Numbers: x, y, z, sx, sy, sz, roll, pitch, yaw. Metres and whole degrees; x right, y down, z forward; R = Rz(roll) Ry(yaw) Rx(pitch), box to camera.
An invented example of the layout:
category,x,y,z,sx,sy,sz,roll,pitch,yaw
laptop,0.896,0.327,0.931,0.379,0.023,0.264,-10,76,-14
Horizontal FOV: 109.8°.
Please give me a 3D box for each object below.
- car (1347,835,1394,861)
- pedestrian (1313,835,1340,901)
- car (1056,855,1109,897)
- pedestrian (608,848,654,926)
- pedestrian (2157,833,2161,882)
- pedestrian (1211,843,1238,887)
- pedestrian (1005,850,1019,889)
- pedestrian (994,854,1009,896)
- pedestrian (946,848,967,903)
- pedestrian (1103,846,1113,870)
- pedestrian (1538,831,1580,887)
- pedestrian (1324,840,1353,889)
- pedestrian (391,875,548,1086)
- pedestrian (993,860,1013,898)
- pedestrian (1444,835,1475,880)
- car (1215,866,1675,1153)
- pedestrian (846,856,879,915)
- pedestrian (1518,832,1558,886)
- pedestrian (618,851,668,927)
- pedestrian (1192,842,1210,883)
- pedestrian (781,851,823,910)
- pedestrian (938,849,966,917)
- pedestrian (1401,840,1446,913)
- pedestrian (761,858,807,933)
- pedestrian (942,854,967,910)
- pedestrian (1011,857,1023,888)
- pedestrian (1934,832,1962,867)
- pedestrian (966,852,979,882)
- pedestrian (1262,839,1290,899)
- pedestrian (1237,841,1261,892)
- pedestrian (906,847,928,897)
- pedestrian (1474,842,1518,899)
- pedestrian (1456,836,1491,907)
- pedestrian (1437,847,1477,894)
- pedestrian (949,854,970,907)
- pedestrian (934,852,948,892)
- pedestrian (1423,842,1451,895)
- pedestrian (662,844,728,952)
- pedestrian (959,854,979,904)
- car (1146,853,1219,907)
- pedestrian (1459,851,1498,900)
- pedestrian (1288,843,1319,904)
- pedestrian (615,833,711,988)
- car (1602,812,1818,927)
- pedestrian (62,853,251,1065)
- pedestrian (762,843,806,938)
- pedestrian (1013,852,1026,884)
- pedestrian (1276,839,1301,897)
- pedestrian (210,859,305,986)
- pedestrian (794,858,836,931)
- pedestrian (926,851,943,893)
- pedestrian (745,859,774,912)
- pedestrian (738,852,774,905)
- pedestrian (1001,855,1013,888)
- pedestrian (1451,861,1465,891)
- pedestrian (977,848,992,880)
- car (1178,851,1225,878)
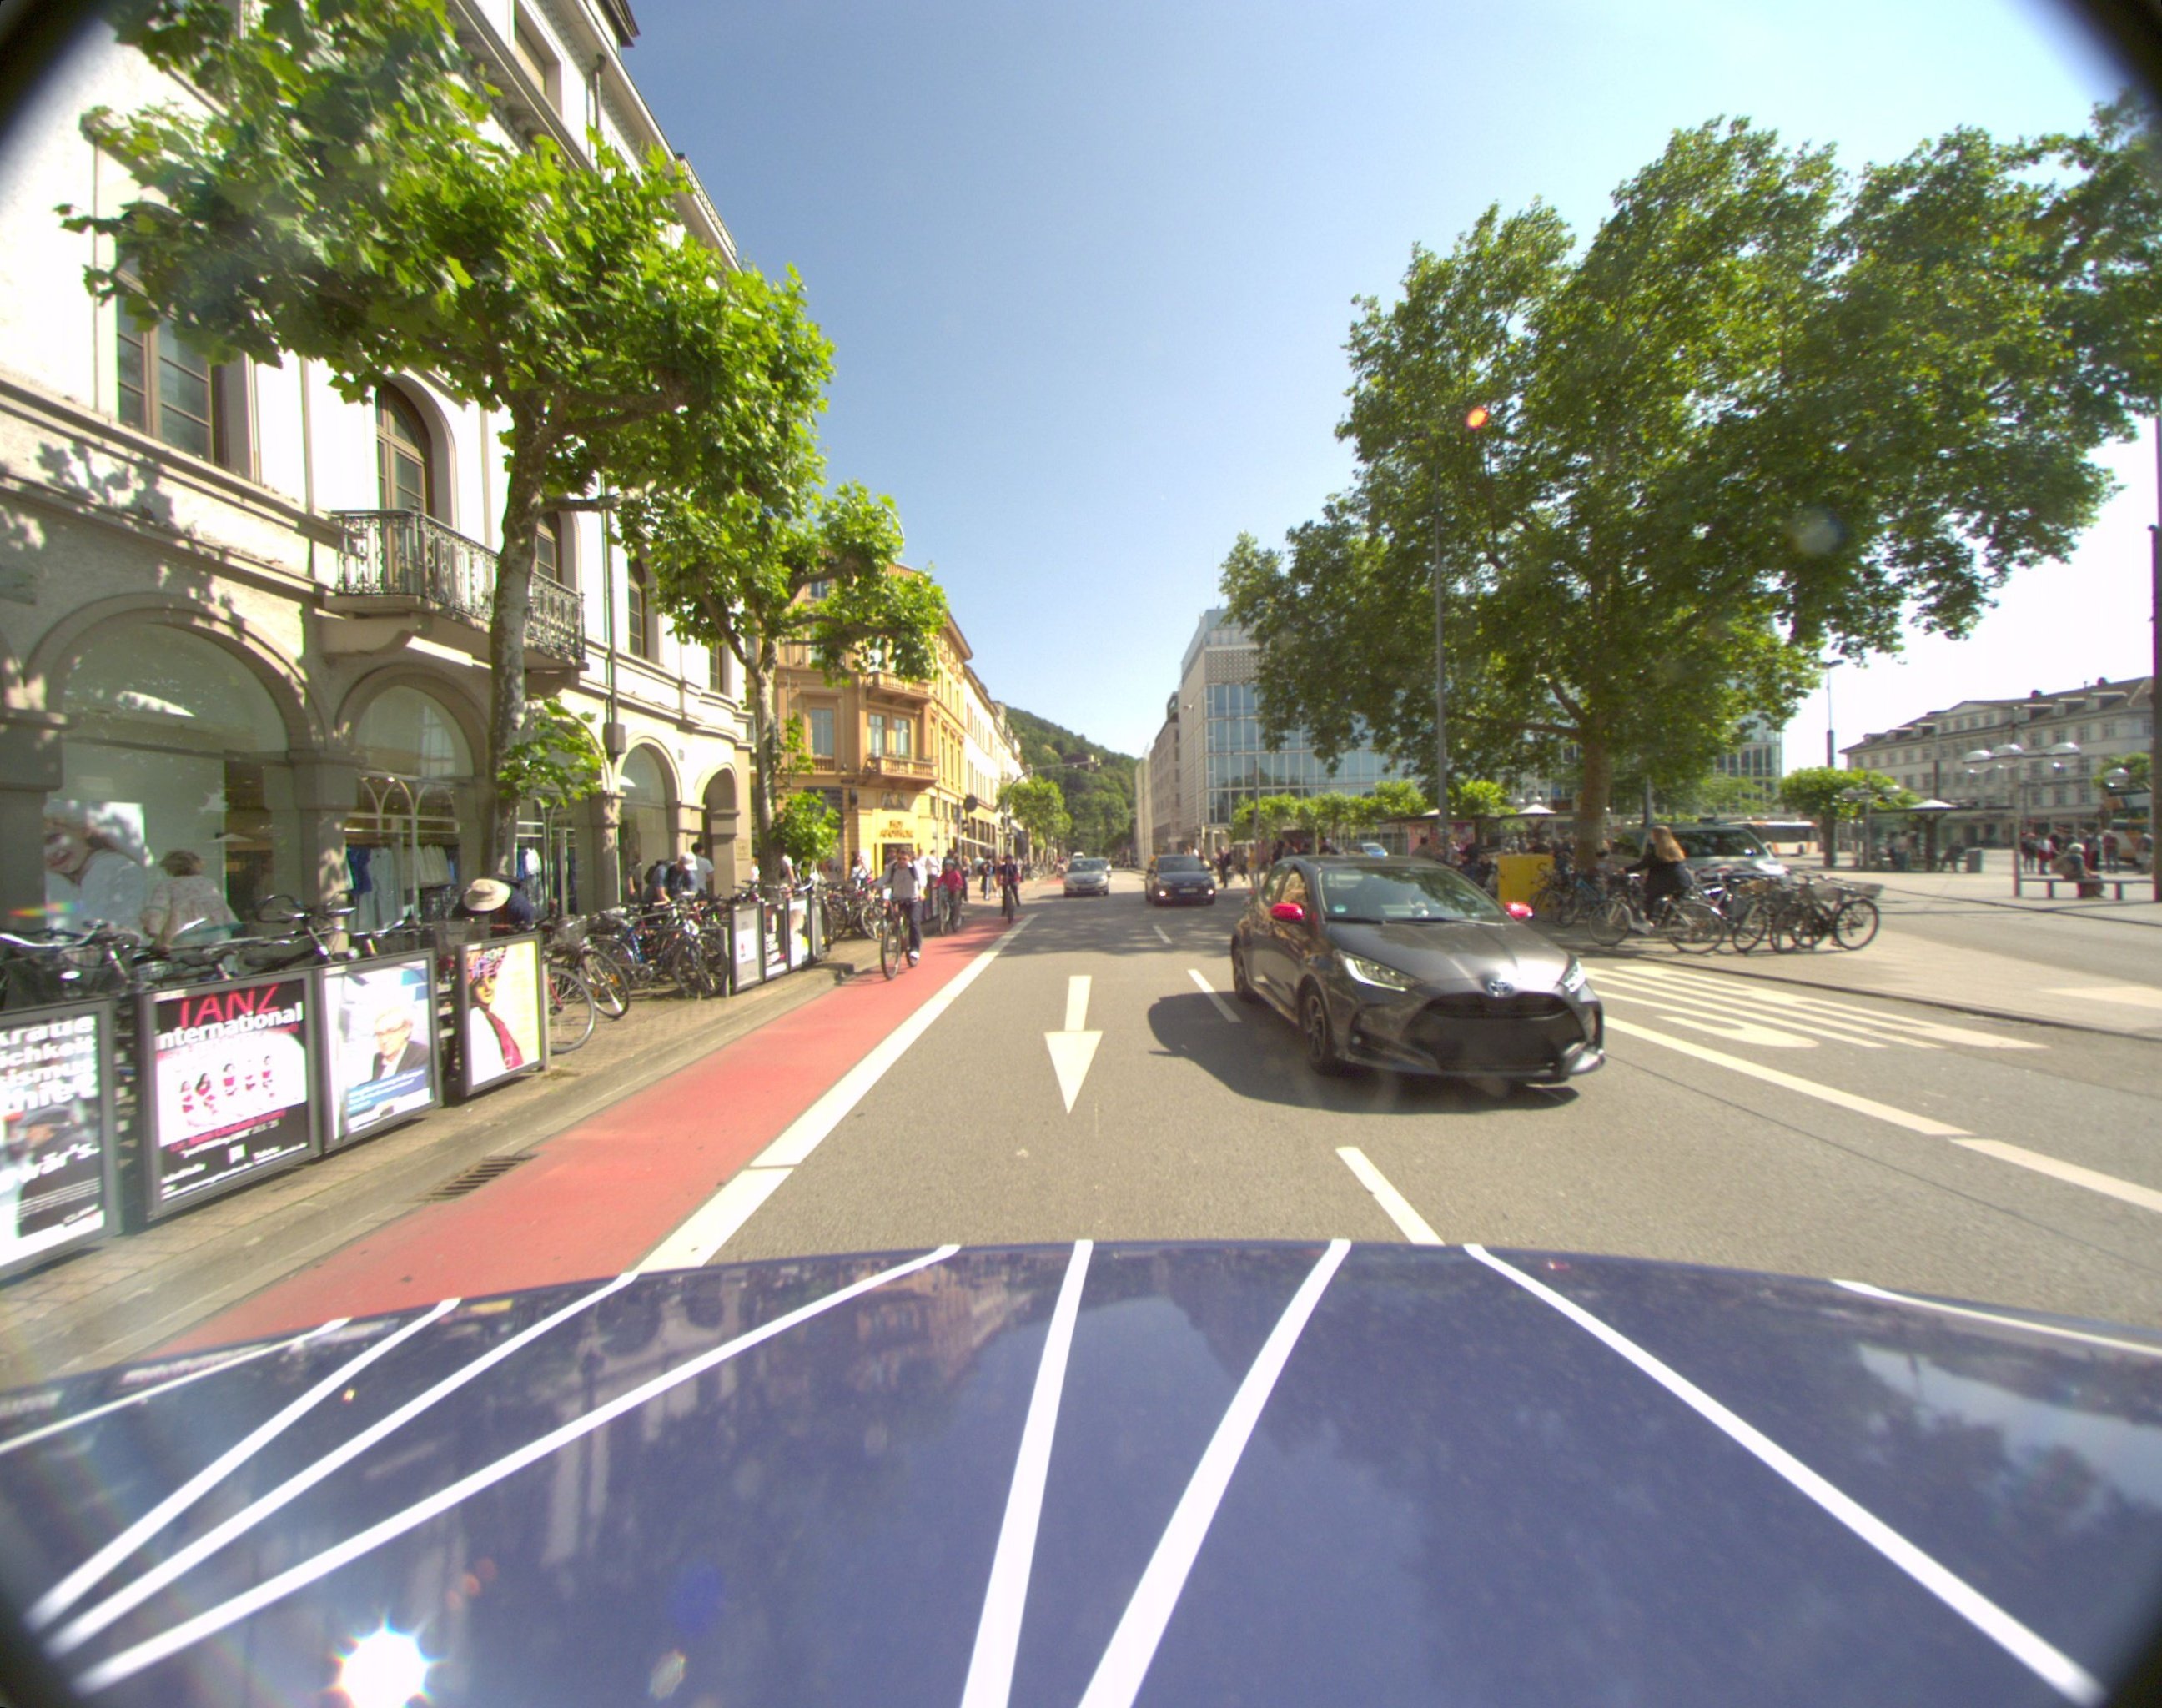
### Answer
category,x,y,z,sx,sy,sz,roll,pitch,yaw
car,24.426,-0.495,64.326,1.999,2.002,3.997,-3,1,-6
pedestrian,6.930,0.391,21.457,0.517,1.825,0.716,-3,1,8
car,0.100,0.824,30.186,1.918,1.401,4.000,-3,1,1
pedestrian,-10.460,0.751,17.674,0.620,1.754,0.608,-2,1,35
pedestrian,32.353,0.105,22.492,0.400,1.464,0.404,-3,1,8
pedestrian,5.870,0.424,31.136,0.876,1.737,0.733,-3,1,-1
pedestrian,-3.312,0.757,36.521,0.578,1.863,0.680,1,0,-11
pedestrian,-3.281,0.874,31.485,0.578,1.720,0.718,1,-1,-7
pedestrian,-4.066,0.692,24.779,0.578,1.774,0.699,0,1,-3
pedestrian,1.990,0.269,56.584,0.699,1.774,0.578,0,1,-5
pedestrian,15.494,0.160,24.646,0.752,1.737,0.782,-3,1,-10
pedestrian,9.420,0.382,27.789,0.751,1.737,0.666,-3,1,-1
pedestrian,-4.813,0.957,6.026,0.606,1.529,0.666,-3,1,-1
pedestrian,-3.157,0.997,30.629,0.672,1.488,0.637,-2,1,-14
pedestrian,15.165,0.132,30.467,0.751,1.737,0.782,-3,1,-1
car,2.357,0.890,6.184,1.782,1.467,3.999,0,1,-1
pedestrian,-6.002,0.867,20.870,0.517,1.575,0.584,-2,1,40
pedestrian,15.355,0.175,25.533,0.752,1.737,0.782,-3,1,-10
pedestrian,-9.907,0.792,17.206,0.620,1.659,0.688,-2,1,35
pedestrian,5.725,0.391,36.416,0.639,1.903,0.733,-3,1,-1
pedestrian,-8.595,0.796,23.481,0.621,1.748,1.187,-3,1,8
pedestrian,-3.595,0.790,21.164,0.578,1.835,0.717,-3,1,-3
pedestrian,8.178,0.523,18.164,0.643,1.682,0.642,-3,1,-13
pedestrian,-7.347,1.010,18.822,0.721,1.772,0.776,-3,1,-1
pedestrian,-3.918,0.852,23.572,0.578,1.675,0.622,-3,1,-3
pedestrian,-3.296,0.938,39.077,0.531,1.586,0.588,0,1,-11
pedestrian,37.193,-0.186,32.586,0.554,1.464,0.532,-3,1,8
pedestrian,-6.201,0.710,43.290,0.688,1.675,0.578,-2,1,-10
pedestrian,5.946,0.456,23.151,0.537,1.773,0.745,-2,1,35
pedestrian,5.890,0.435,26.644,0.612,1.737,0.752,-2,1,-1
pedestrian,-6.164,0.658,28.572,0.578,1.835,0.622,-3,1,1
pedestrian,12.153,0.470,22.285,0.752,1.587,0.782,-3,1,-10
pedestrian,9.975,0.438,19.327,0.516,1.732,0.518,-3,1,-13
pedestrian,11.740,0.494,23.711,0.752,1.399,0.782,-3,1,-10
pedestrian,-3.856,0.838,24.134,0.569,1.675,0.591,0,1,-3
pedestrian,-5.995,0.776,32.467,0.444,1.679,0.478,-1,1,1
pedestrian,12.152,0.502,25.935,0.750,1.737,0.784,-3,1,27
pedestrian,-6.631,0.736,13.086,0.635,1.783,0.776,-3,1,-1
pedestrian,-3.833,0.840,26.009,0.578,1.675,0.669,0,1,-3
car,2.953,0.710,22.815,1.699,1.397,4.000,-2,1,1
pedestrian,12.043,0.650,23.018,0.752,1.416,0.673,-3,1,-10
pedestrian,6.211,0.547,21.161,0.630,1.639,0.753,-3,1,26
pedestrian,-5.394,0.705,9.862,0.702,1.891,0.776,-3,1,-1
car,12.924,0.241,16.076,1.996,2.002,5.073,-3,1,22
pedestrian,-7.865,0.857,6.499,0.658,1.686,0.676,-3,1,2
pedestrian,-6.045,0.729,15.489,0.546,1.871,0.602,-3,1,-1
pedestrian,-3.416,0.757,41.947,0.650,1.770,0.621,0,2,-10
pedestrian,6.604,0.441,24.203,0.595,1.835,0.738,0,1,-1
pedestrian,-10.354,0.841,9.574,0.504,1.525,0.538,-3,1,-7
pedestrian,-6.576,0.998,18.837,0.676,1.730,0.753,-3,1,-1
pedestrian,-6.397,0.795,33.194,0.578,1.804,0.605,1,1,4
pedestrian,-10.920,1.063,25.821,0.578,1.744,0.699,-3,1,1
pedestrian,-10.534,0.782,24.660,0.798,1.638,0.622,-3,1,1
pedestrian,-3.722,0.874,38.194,0.578,1.674,0.676,0,0,-11
pedestrian,12.393,0.709,24.961,0.339,0.961,0.282,-3,1,31
pedestrian,-5.509,0.548,43.285,0.758,1.782,0.859,-2,1,-9
car,10.234,0.893,64.191,1.995,2.002,4.007,-2,1,41
